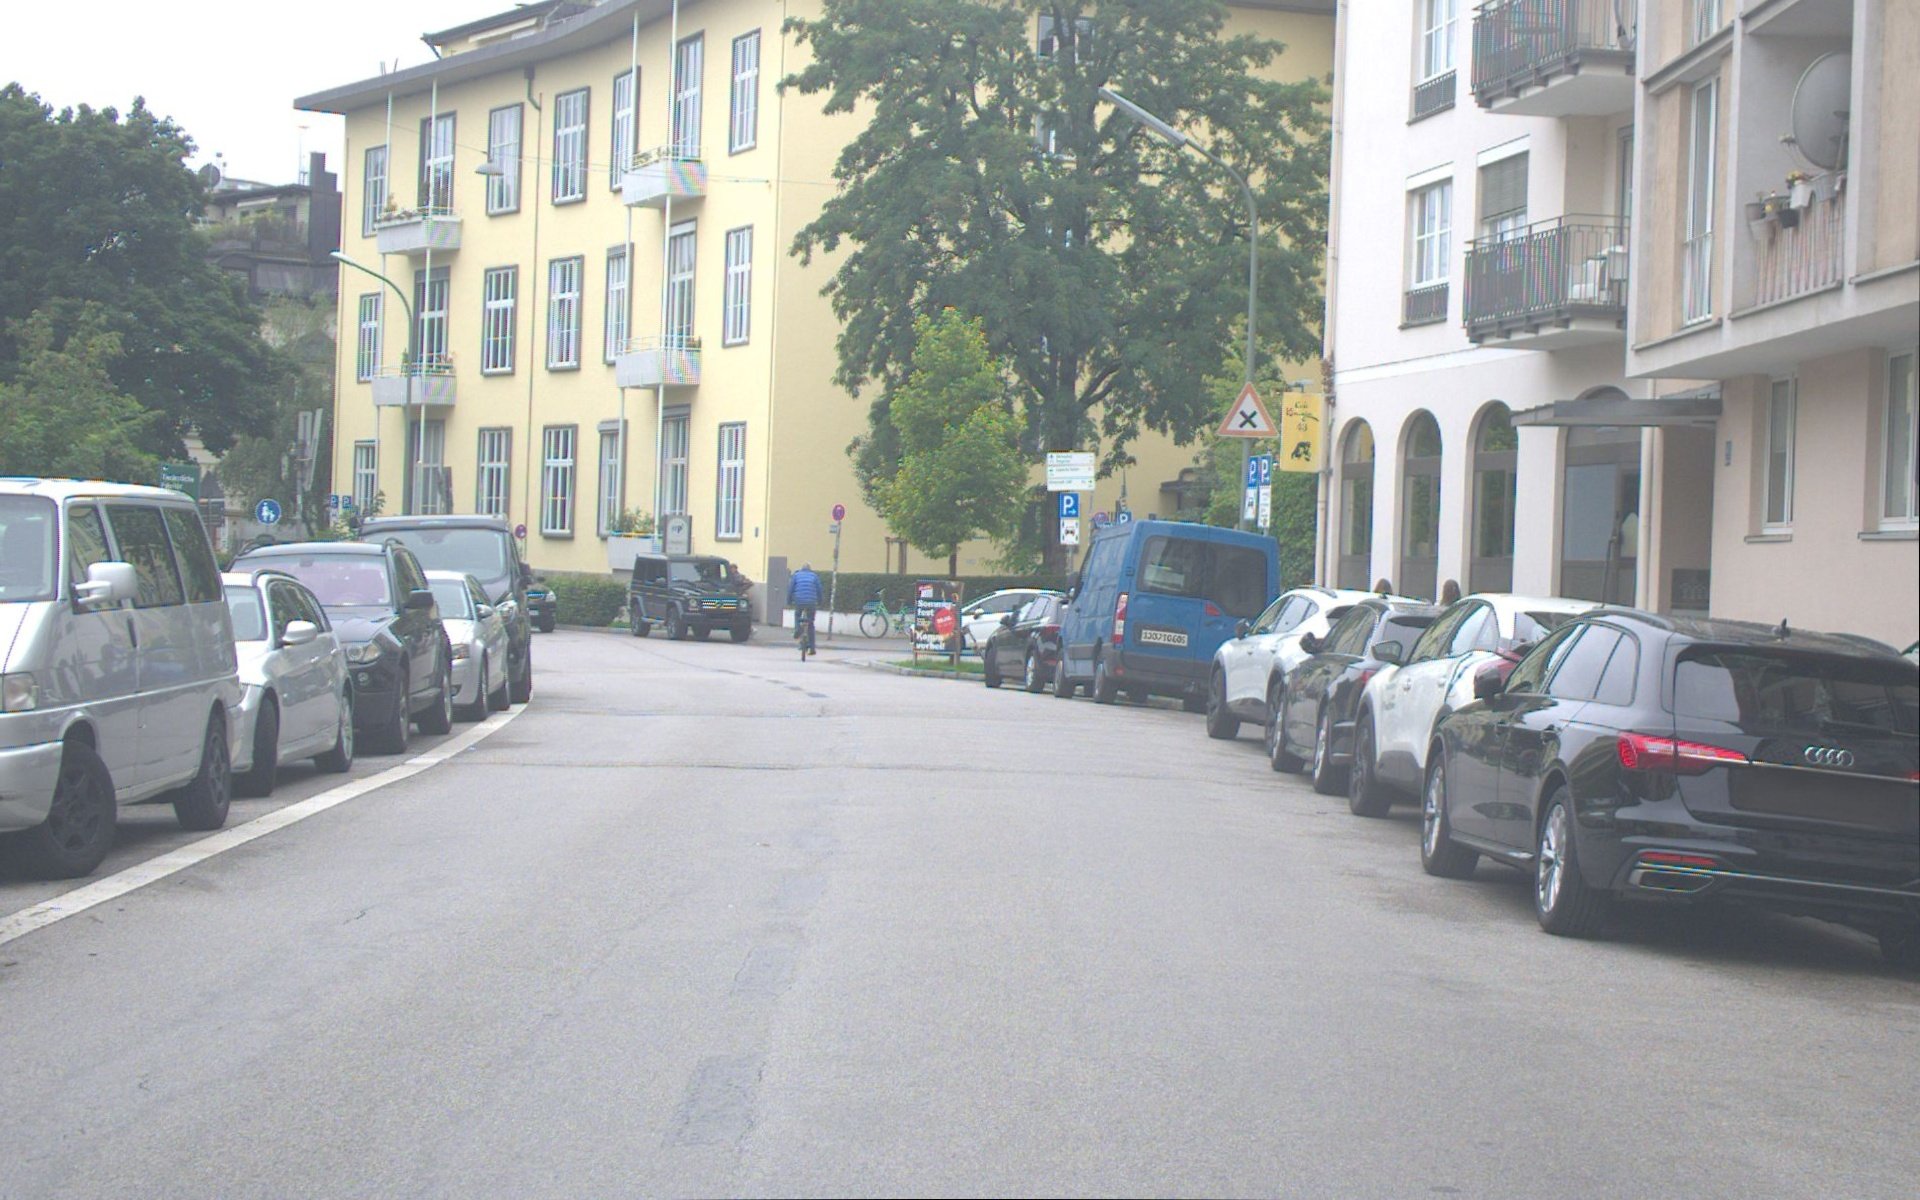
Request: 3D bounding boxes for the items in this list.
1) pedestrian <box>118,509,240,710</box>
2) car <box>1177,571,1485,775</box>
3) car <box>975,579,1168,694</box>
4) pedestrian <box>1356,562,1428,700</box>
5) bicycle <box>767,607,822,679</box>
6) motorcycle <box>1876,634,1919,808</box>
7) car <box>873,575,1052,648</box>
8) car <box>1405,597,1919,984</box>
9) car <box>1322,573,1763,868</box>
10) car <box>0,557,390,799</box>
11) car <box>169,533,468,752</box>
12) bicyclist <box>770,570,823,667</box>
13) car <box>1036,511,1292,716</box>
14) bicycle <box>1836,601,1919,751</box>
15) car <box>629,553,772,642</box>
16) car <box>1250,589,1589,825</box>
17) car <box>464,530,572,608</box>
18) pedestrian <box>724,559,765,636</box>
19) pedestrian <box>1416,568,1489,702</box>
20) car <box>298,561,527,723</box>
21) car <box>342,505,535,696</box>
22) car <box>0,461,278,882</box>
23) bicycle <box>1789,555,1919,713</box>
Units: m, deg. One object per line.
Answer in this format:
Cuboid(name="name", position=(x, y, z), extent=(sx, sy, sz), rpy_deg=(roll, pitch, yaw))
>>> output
Cuboid(name="pedestrian", position=(-6.975, 0.077, 30.745), extent=(0.843, 1.749, 0.872), rpy_deg=(2, 1, 0))
Cuboid(name="car", position=(3.356, 0.618, 31.931), extent=(1.775, 1.517, 4.305), rpy_deg=(6, 1, -7))
Cuboid(name="car", position=(1.547, 0.496, 49.251), extent=(1.714, 1.390, 4.001), rpy_deg=(5, 0, -12))
Cuboid(name="pedestrian", position=(5.176, 0.372, 41.227), extent=(0.678, 1.623, 0.830), rpy_deg=(1, 0, -5))
Cuboid(name="bicycle", position=(-3.082, 0.784, 64.147), extent=(0.921, 1.248, 2.322), rpy_deg=(2, 1, -1))
Cuboid(name="motorcycle", position=(7.428, 0.908, 25.520), extent=(0.635, 1.267, 2.041), rpy_deg=(1, 0, -2))
Cuboid(name="car", position=(0.034, 0.243, 73.208), extent=(3.714, 1.401, 1.753), rpy_deg=(2, 1, -2))
Cuboid(name="car", position=(3.355, 0.780, 16.103), extent=(1.827, 1.377, 4.491), rpy_deg=(4, 1, -1))
Cuboid(name="car", position=(3.473, 0.660, 21.261), extent=(1.702, 1.463, 4.120), rpy_deg=(6, 0, -3))
Cuboid(name="car", position=(-5.070, 0.450, 22.845), extent=(1.804, 1.373, 4.491), rpy_deg=(-3, 1, -1))
Cuboid(name="car", position=(-5.125, 0.283, 27.991), extent=(1.702, 1.601, 4.491), rpy_deg=(-1, 1, -2))
Cuboid(name="bicyclist", position=(-3.045, 0.344, 64.156), extent=(0.914, 1.758, 1.215), rpy_deg=(2, 1, -2))
Cuboid(name="car", position=(2.477, 0.206, 43.225), extent=(2.109, 2.206, 5.029), rpy_deg=(7, -2, -7))
Cuboid(name="bicycle", position=(7.584, 0.612, 28.446), extent=(0.393, 1.198, 1.342), rpy_deg=(-2, 0, 4))
Cuboid(name="car", position=(-6.055, -0.079, 79.695), extent=(1.873, 1.881, 4.620), rpy_deg=(1, 1, -23))
Cuboid(name="car", position=(3.406, 0.740, 26.348), extent=(1.772, 1.424, 4.693), rpy_deg=(6, 1, -1))
Cuboid(name="car", position=(-10.475, -0.749, 81.265), extent=(1.993, 1.713, 4.616), rpy_deg=(2, 1, -14))
Cuboid(name="pedestrian", position=(-5.015, -0.053, 80.016), extent=(0.848, 1.751, 0.954), rpy_deg=(1, 1, -7))
Cuboid(name="pedestrian", position=(5.914, 0.414, 41.286), extent=(0.711, 1.599, 0.700), rpy_deg=(1, 0, -5))
Cuboid(name="car", position=(-5.204, 0.356, 33.087), extent=(1.706, 1.361, 4.002), rpy_deg=(-2, 1, -3))
Cuboid(name="car", position=(-5.782, -0.041, 38.533), extent=(1.925, 1.972, 4.624), rpy_deg=(-1, 1, -6))
Cuboid(name="car", position=(-4.836, 0.295, 17.143), extent=(1.893, 1.792, 4.881), rpy_deg=(-2, 1, -1))
Cuboid(name="bicycle", position=(7.205, 0.258, 26.914), extent=(1.337, 1.198, 0.394), rpy_deg=(-2, 0, -14))
